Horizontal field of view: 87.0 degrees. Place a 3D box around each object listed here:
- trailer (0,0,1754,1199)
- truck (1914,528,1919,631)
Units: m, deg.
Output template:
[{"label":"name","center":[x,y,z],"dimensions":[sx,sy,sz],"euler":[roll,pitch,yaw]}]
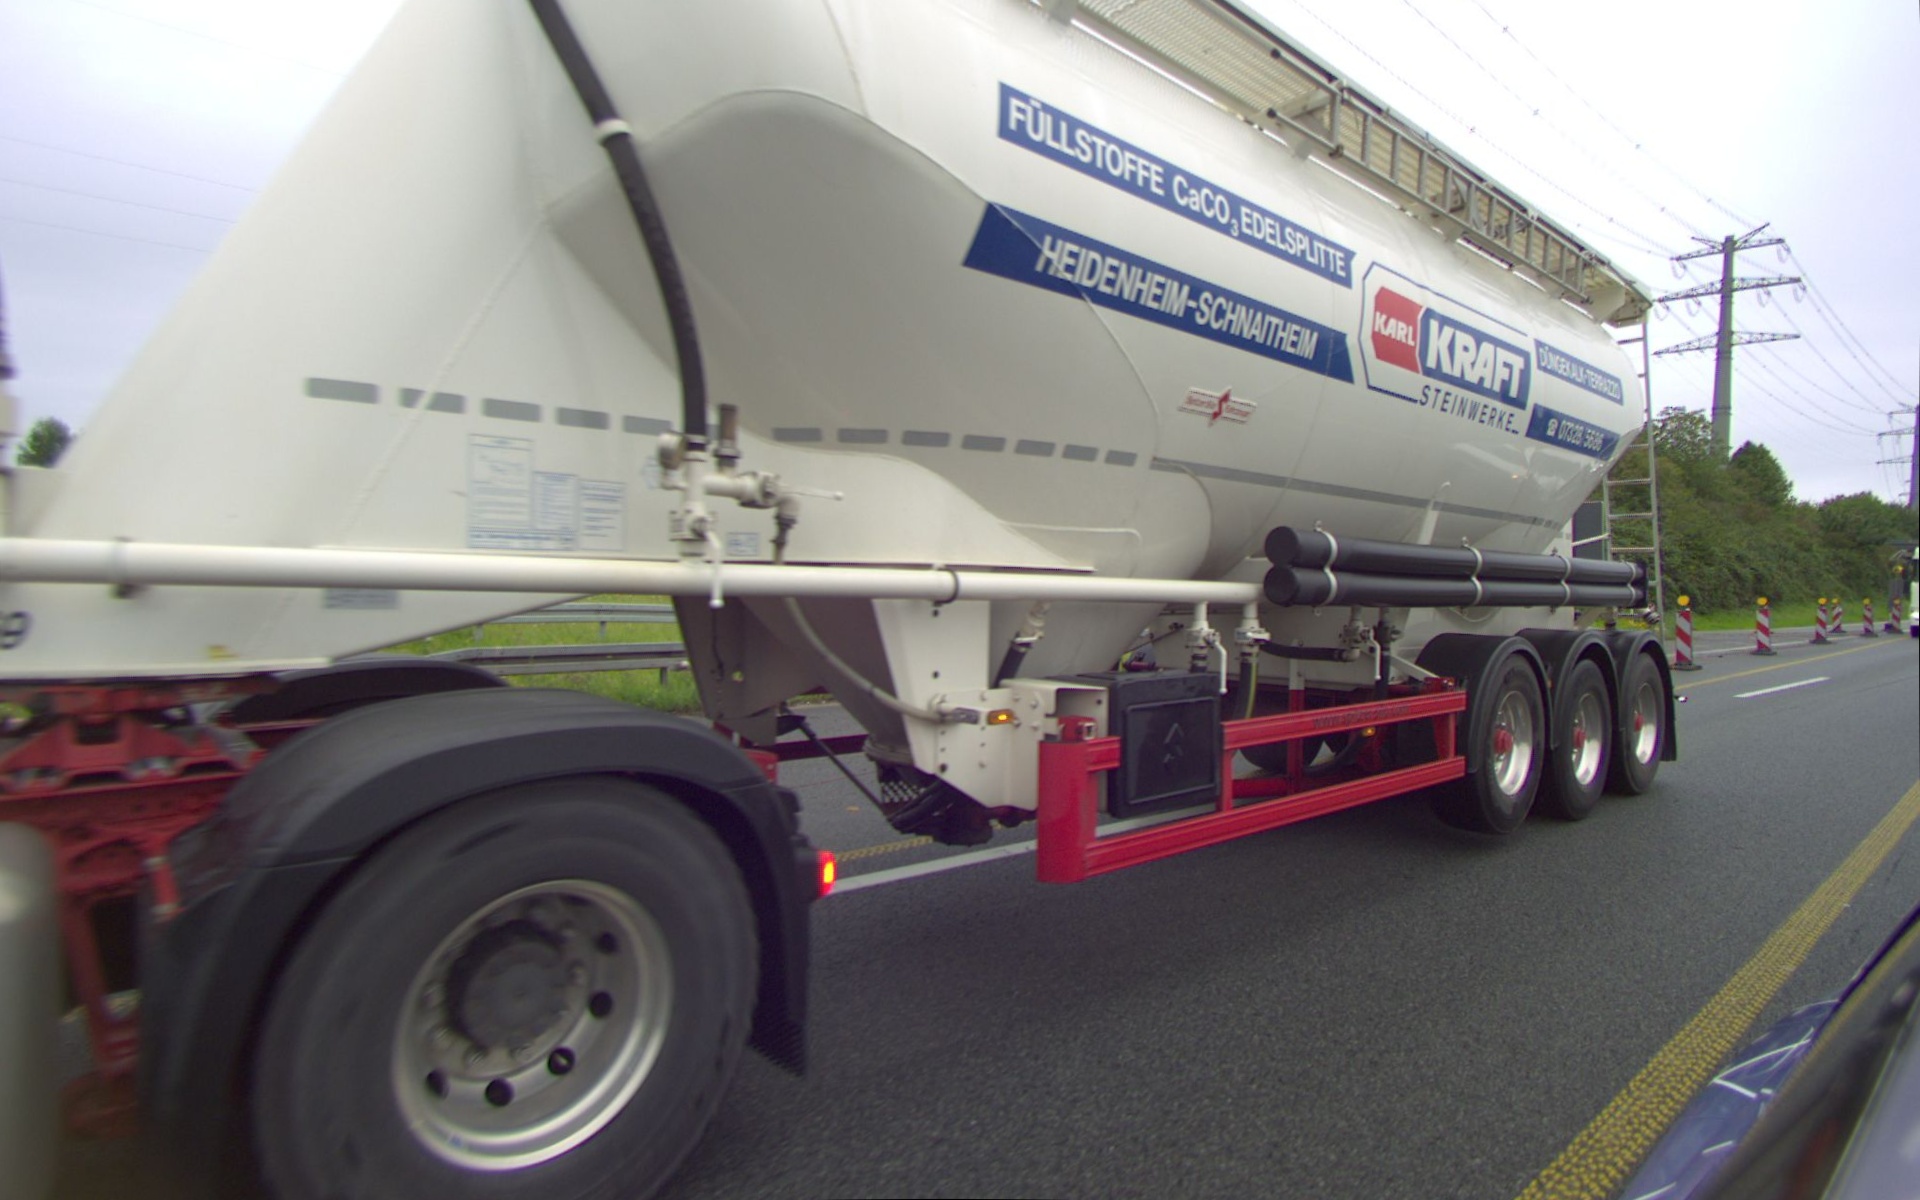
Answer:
[{"label":"trailer","center":[1.193,-0.813,5.434],"dimensions":[12.135,3.882,2.524],"euler":[-1,1,-41]},{"label":"truck","center":[39.647,-0.816,39.694],"dimensions":[5.304,3.984,2.746],"euler":[-1,1,-41]}]
